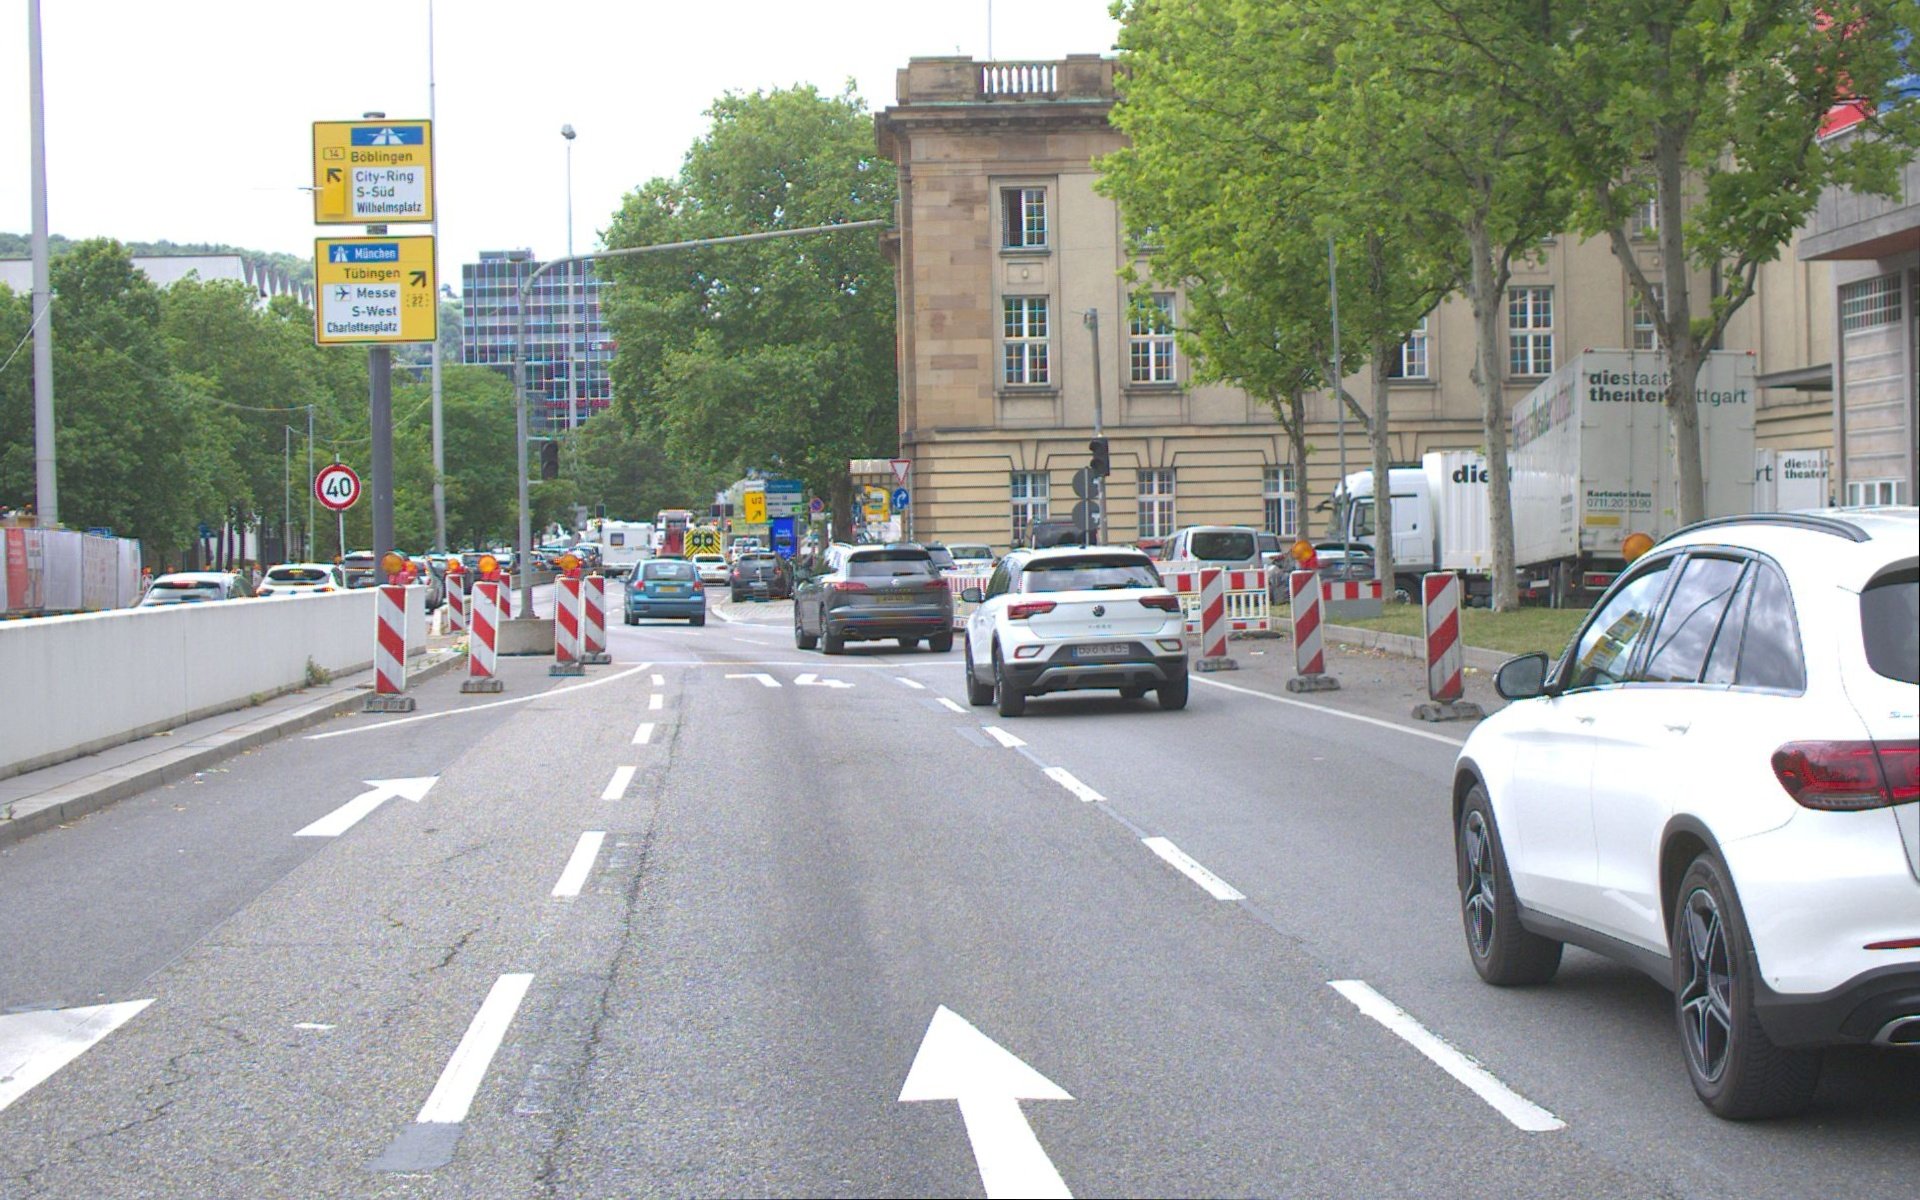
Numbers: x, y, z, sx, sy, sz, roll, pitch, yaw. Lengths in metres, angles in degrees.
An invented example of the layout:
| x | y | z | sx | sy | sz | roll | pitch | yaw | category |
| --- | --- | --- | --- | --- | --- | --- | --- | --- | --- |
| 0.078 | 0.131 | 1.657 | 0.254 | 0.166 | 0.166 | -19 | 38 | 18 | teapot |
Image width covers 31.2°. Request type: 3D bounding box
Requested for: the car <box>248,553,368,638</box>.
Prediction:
| x | y | z | sx | sy | sz | roll | pitch | yaw | category |
| --- | --- | --- | --- | --- | --- | --- | --- | --- | --- |
| -12.428 | -0.109 | 65.734 | 1.750 | 1.562 | 3.377 | -1 | 1 | -2 | car |

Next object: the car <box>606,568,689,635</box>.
| x | y | z | sx | sy | sz | roll | pitch | yaw | category |
| --- | --- | --- | --- | --- | --- | --- | --- | --- | --- |
| -8.930 | 0.076 | 98.633 | 1.823 | 1.735 | 4.479 | -2 | -2 | 1 | car |

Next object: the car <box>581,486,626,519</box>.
| x | y | z | sx | sy | sz | roll | pitch | yaw | category |
| --- | --- | --- | --- | --- | --- | --- | --- | --- | --- |
| -26.294 | -7.215 | 254.069 | 2.582 | 2.366 | 5.526 | -2 | 1 | 1 | car |

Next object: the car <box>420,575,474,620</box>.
| x | y | z | sx | sy | sz | roll | pitch | yaw | category |
| --- | --- | --- | --- | --- | --- | --- | --- | --- | --- |
| -18.622 | -0.107 | 124.903 | 1.750 | 1.562 | 4.332 | -1 | 1 | -6 | car |

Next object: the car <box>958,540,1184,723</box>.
| x | y | z | sx | sy | sz | roll | pitch | yaw | category |
| --- | --- | --- | --- | --- | --- | --- | --- | --- | --- |
| 1.010 | 0.248 | 33.447 | 1.750 | 1.562 | 4.332 | -3 | 1 | -3 | car |

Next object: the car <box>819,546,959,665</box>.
| x | y | z | sx | sy | sz | roll | pitch | yaw | category |
| --- | --- | --- | --- | --- | --- | --- | --- | --- | --- |
| -1.145 | 0.042 | 53.299 | 1.823 | 1.562 | 4.481 | -3 | 2 | -5 | car |

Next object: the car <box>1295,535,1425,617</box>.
| x | y | z | sx | sy | sz | roll | pitch | yaw | category |
| --- | --- | --- | --- | --- | --- | --- | --- | --- | --- |
| 7.937 | -0.466 | 68.545 | 1.856 | 1.562 | 4.332 | -1 | 0 | -3 | car |

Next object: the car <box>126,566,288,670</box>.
| x | y | z | sx | sy | sz | roll | pitch | yaw | category |
| --- | --- | --- | --- | --- | --- | --- | --- | --- | --- |
| -12.008 | 0.250 | 55.035 | 1.750 | 1.562 | 4.332 | -1 | 1 | -2 | car |

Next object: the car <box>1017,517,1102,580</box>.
| x | y | z | sx | sy | sz | roll | pitch | yaw | category |
| --- | --- | --- | --- | --- | --- | --- | --- | --- | --- |
| 2.563 | -1.309 | 89.263 | 1.856 | 1.562 | 4.332 | -1 | 0 | -3 | car |

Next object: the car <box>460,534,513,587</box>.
| x | y | z | sx | sy | sz | roll | pitch | yaw | category |
| --- | --- | --- | --- | --- | --- | --- | --- | --- | --- |
| -19.257 | -1.626 | 139.919 | 1.993 | 2.006 | 4.001 | -1 | 3 | -6 | car |

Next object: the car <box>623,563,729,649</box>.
| x | y | z | sx | sy | sz | roll | pitch | yaw | category |
| --- | --- | --- | --- | --- | --- | --- | --- | --- | --- |
| -6.242 | 0.114 | 75.978 | 1.823 | 1.734 | 4.480 | -2 | 1 | 1 | car |

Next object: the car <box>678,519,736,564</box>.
| x | y | z | sx | sy | sz | roll | pitch | yaw | category |
| --- | --- | --- | --- | --- | --- | --- | --- | --- | --- |
| -13.789 | -3.205 | 187.781 | 2.582 | 2.366 | 5.526 | -2 | 1 | 1 | car |

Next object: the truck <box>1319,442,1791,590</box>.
| x | y | z | sx | sy | sz | roll | pitch | yaw | category |
| --- | --- | --- | --- | --- | --- | --- | --- | --- | --- |
| 13.245 | -1.851 | 76.942 | 10.028 | 3.040 | 2.569 | -1 | 0 | -2 | truck |

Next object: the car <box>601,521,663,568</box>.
| x | y | z | sx | sy | sz | roll | pitch | yaw | category |
| --- | --- | --- | --- | --- | --- | --- | --- | --- | --- |
| -17.151 | -2.921 | 180.033 | 2.582 | 2.366 | 5.526 | -2 | 1 | 1 | car |

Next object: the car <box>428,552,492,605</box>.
| x | y | z | sx | sy | sz | roll | pitch | yaw | category |
| --- | --- | --- | --- | --- | --- | --- | --- | --- | --- |
| -15.362 | -0.661 | 105.782 | 1.750 | 1.562 | 4.332 | -1 | 1 | -6 | car |

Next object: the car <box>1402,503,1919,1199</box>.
| x | y | z | sx | sy | sz | roll | pitch | yaw | category |
| --- | --- | --- | --- | --- | --- | --- | --- | --- | --- |
| 2.750 | 0.556 | 10.651 | 1.811 | 1.637 | 4.553 | -4 | 1 | -3 | car |

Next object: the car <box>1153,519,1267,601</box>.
| x | y | z | sx | sy | sz | roll | pitch | yaw | category |
| --- | --- | --- | --- | --- | --- | --- | --- | --- | --- |
| 4.979 | -0.782 | 68.919 | 1.750 | 1.562 | 4.332 | -1 | 0 | -3 | car |

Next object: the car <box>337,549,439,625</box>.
| x | y | z | sx | sy | sz | roll | pitch | yaw | category |
| --- | --- | --- | --- | --- | --- | --- | --- | --- | --- |
| -12.848 | -0.304 | 77.348 | 1.750 | 1.562 | 3.377 | -4 | 1 | -2 | car |
